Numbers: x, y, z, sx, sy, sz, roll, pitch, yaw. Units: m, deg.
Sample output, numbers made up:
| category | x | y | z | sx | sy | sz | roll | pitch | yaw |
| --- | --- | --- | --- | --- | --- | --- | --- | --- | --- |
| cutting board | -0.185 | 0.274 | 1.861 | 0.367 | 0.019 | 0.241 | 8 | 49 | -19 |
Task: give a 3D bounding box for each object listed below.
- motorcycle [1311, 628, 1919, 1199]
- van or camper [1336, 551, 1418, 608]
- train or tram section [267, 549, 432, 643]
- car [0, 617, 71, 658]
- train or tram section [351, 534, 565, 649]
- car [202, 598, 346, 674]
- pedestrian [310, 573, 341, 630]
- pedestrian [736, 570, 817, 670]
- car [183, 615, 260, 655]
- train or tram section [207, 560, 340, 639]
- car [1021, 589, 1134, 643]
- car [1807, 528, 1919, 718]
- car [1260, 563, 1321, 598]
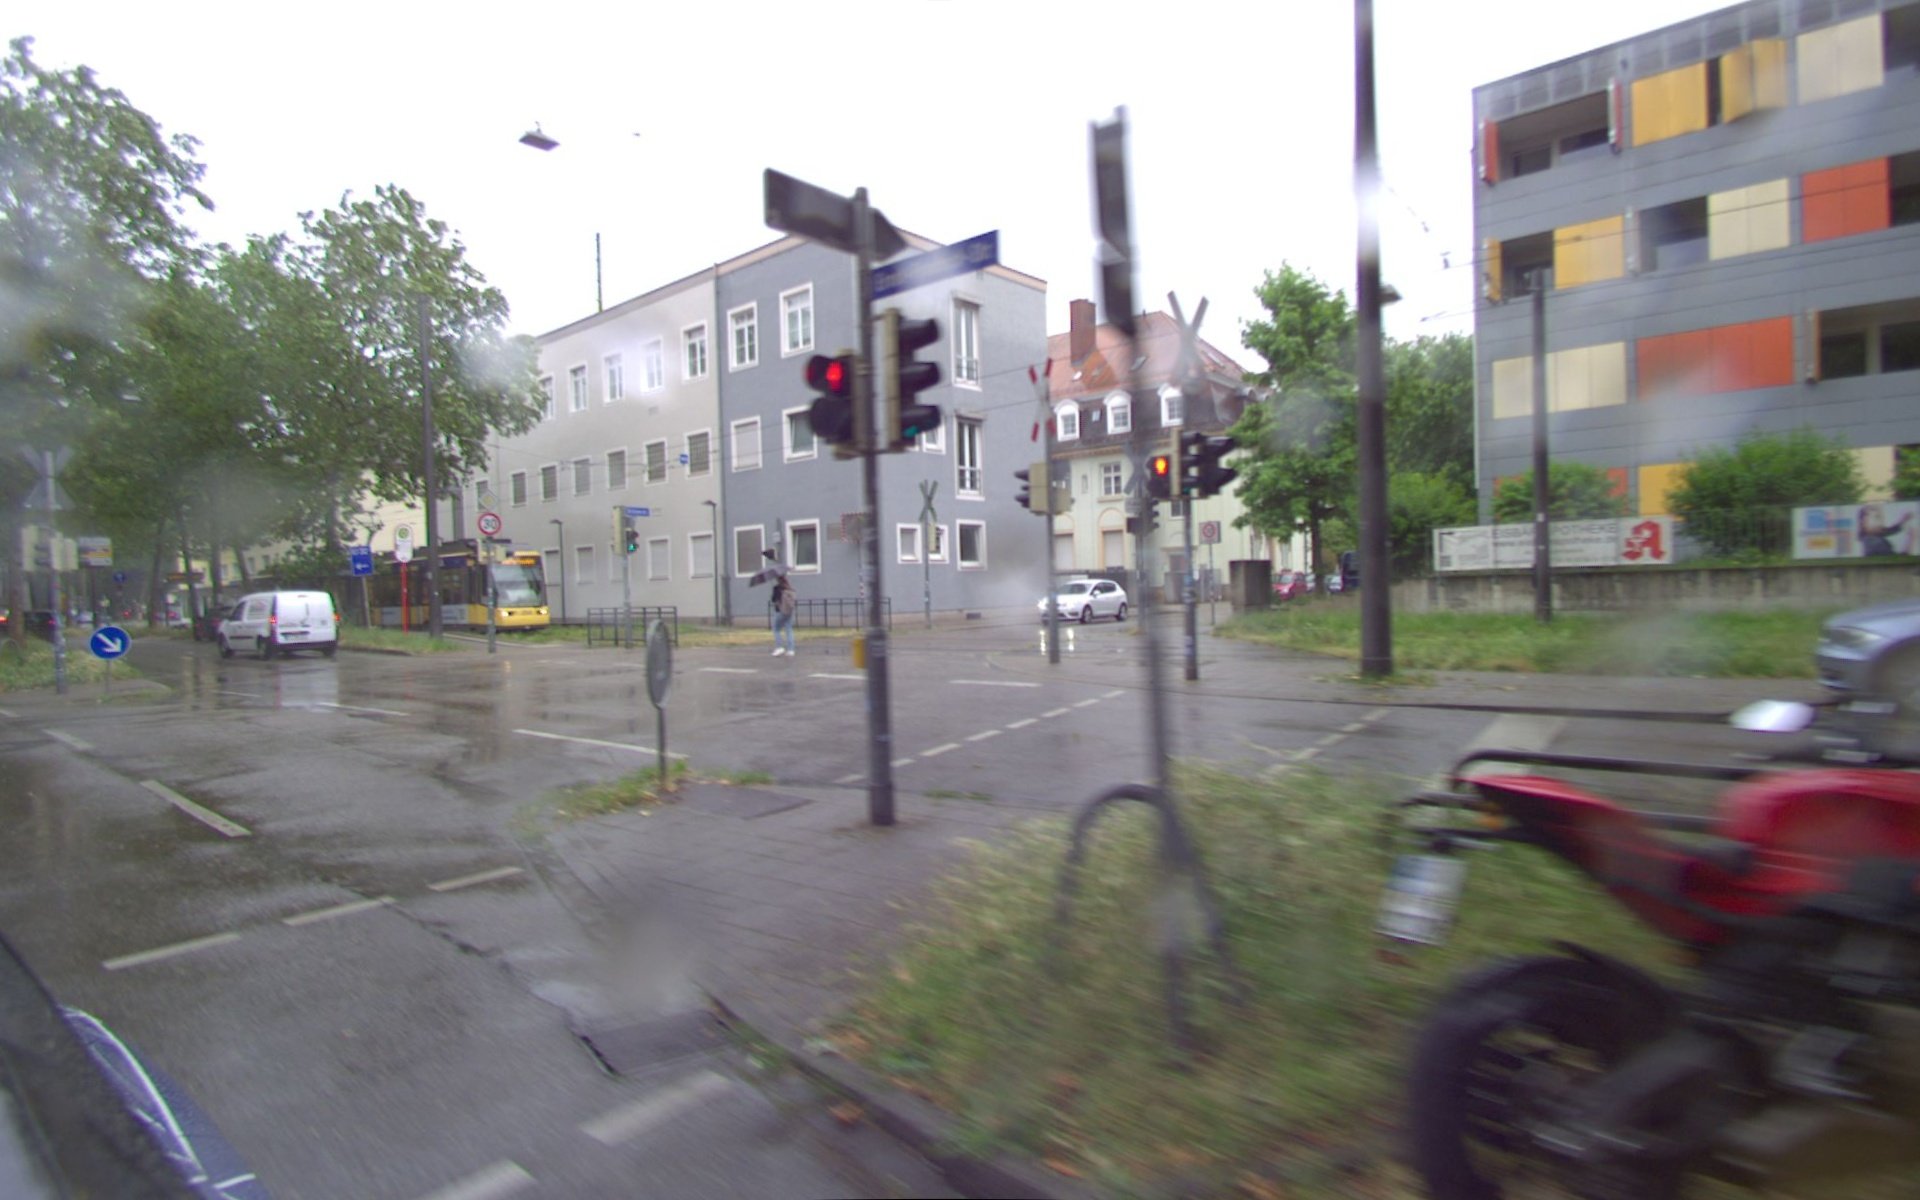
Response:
| category | x | y | z | sx | sy | sz | roll | pitch | yaw |
| --- | --- | --- | --- | --- | --- | --- | --- | --- | --- |
| motorcycle | 2.021 | 0.730 | 2.271 | 2.110 | 1.218 | 0.870 | -3 | 2 | -4 |
| van or camper | 16.564 | -0.830 | 40.114 | 1.997 | 2.028 | 3.951 | -1 | 3 | 37 |
| train or tram section | -27.466 | -0.144 | 45.185 | 11.548 | 3.669 | 2.870 | -1 | 3 | 42 |
| car | -41.920 | 1.677 | 45.462 | 4.666 | 1.630 | 2.037 | -2 | 2 | 37 |
| train or tram section | -18.889 | -0.283 | 37.474 | 11.548 | 3.669 | 2.870 | -1 | 3 | 42 |
| car | -18.829 | 0.971 | 27.733 | 4.057 | 1.863 | 1.916 | -2 | 1 | 35 |
| pedestrian | -21.340 | 0.050 | 34.029 | 0.635 | 1.869 | 0.654 | -2 | 2 | 42 |
| pedestrian | -3.523 | 0.363 | 19.402 | 1.205 | 1.813 | 0.926 | -1 | 2 | 41 |
| car | -30.681 | 1.452 | 42.015 | 3.703 | 1.394 | 1.656 | -2 | 5 | 41 |
| train or tram section | -36.066 | -0.006 | 52.929 | 11.548 | 3.669 | 2.870 | -1 | 3 | 42 |
| car | 3.978 | 0.505 | 33.828 | 1.886 | 1.539 | 4.039 | -2 | 2 | 38 |
| car | 9.190 | 0.097 | 7.491 | 4.388 | 1.474 | 1.884 | -2 | 2 | 43 |
| car | 18.033 | -1.062 | 55.125 | 1.997 | 1.763 | 3.950 | -1 | 2 | 37 |
